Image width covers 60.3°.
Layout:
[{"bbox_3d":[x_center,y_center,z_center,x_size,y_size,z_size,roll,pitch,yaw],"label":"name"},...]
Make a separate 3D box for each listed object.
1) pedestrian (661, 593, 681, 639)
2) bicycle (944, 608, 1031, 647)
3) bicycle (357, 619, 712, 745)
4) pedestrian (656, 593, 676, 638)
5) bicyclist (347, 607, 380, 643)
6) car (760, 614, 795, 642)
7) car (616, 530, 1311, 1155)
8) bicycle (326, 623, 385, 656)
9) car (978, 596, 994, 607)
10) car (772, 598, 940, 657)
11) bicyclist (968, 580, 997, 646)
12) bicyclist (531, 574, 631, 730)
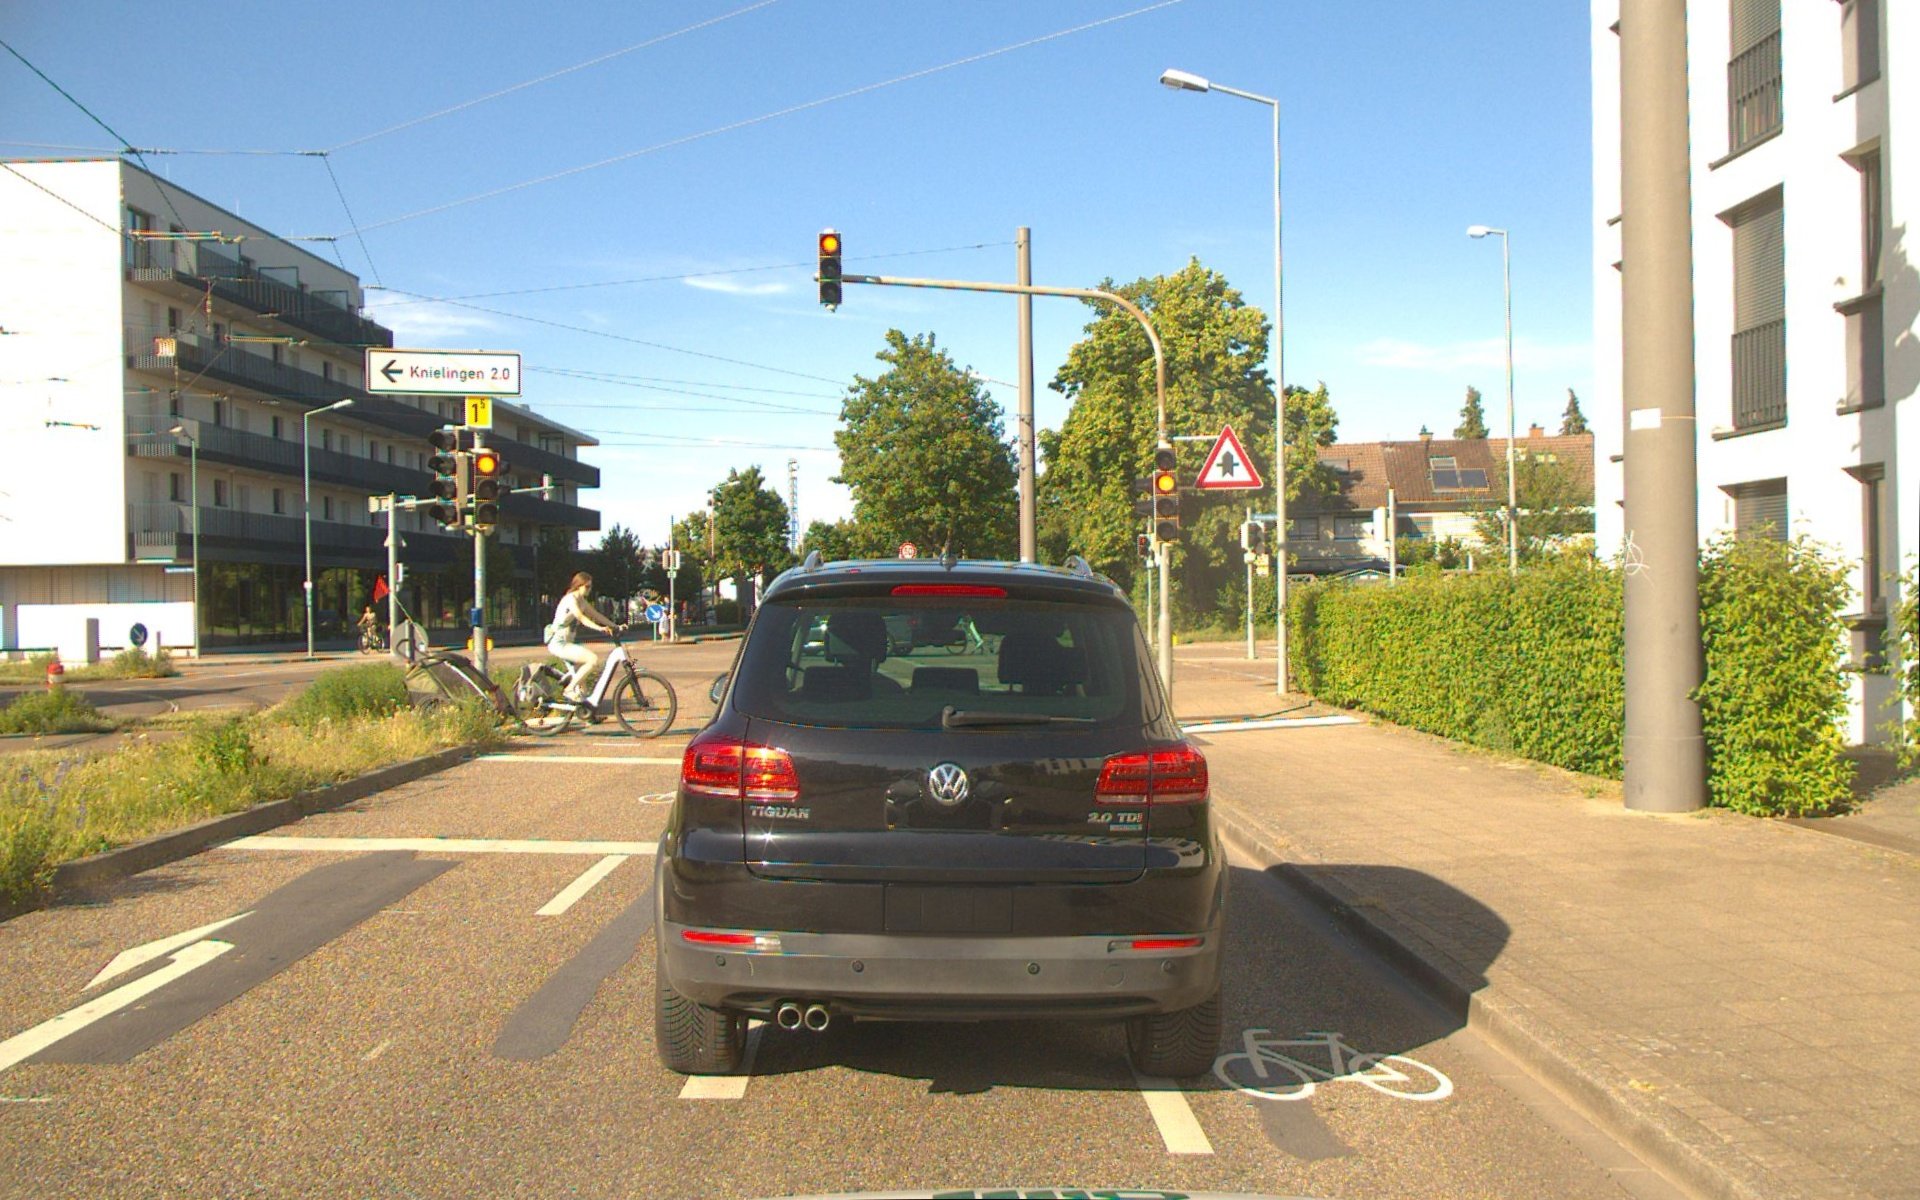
[{"bbox_3d":[-10.492,0.580,60.062,0.590,1.668,0.529,0,0,4],"label":"pedestrian"},{"bbox_3d":[0.783,0.773,47.048,2.452,1.078,0.776,1,0,2],"label":"bicycle"},{"bbox_3d":[-4.620,0.884,18.197,3.609,1.195,0.999,2,0,-2],"label":"bicycle"},{"bbox_3d":[-10.564,0.554,59.484,0.590,1.592,0.529,0,0,4],"label":"pedestrian"},{"bbox_3d":[-21.150,0.887,58.628,0.823,1.257,0.743,0,0,24],"label":"bicyclist"},{"bbox_3d":[-11.289,1.709,102.487,1.621,1.668,4.001,0,0,1],"label":"car"},{"bbox_3d":[-0.053,0.650,6.465,1.867,1.671,3.998,0,0,-2],"label":"car"},{"bbox_3d":[-21.269,1.376,58.222,0.947,1.104,1.834,0,0,23],"label":"bicycle"},{"bbox_3d":[3.274,0.194,209.056,1.716,1.411,3.998,0,0,-2],"label":"car"},{"bbox_3d":[-2.818,0.738,45.581,4.403,1.530,2.001,0,0,3],"label":"car"},{"bbox_3d":[0.642,0.368,47.062,0.786,1.838,0.684,0,0,3],"label":"bicyclist"},{"bbox_3d":[-4.164,0.557,18.235,0.891,1.658,0.976,0,0,-2],"label":"bicyclist"}]
